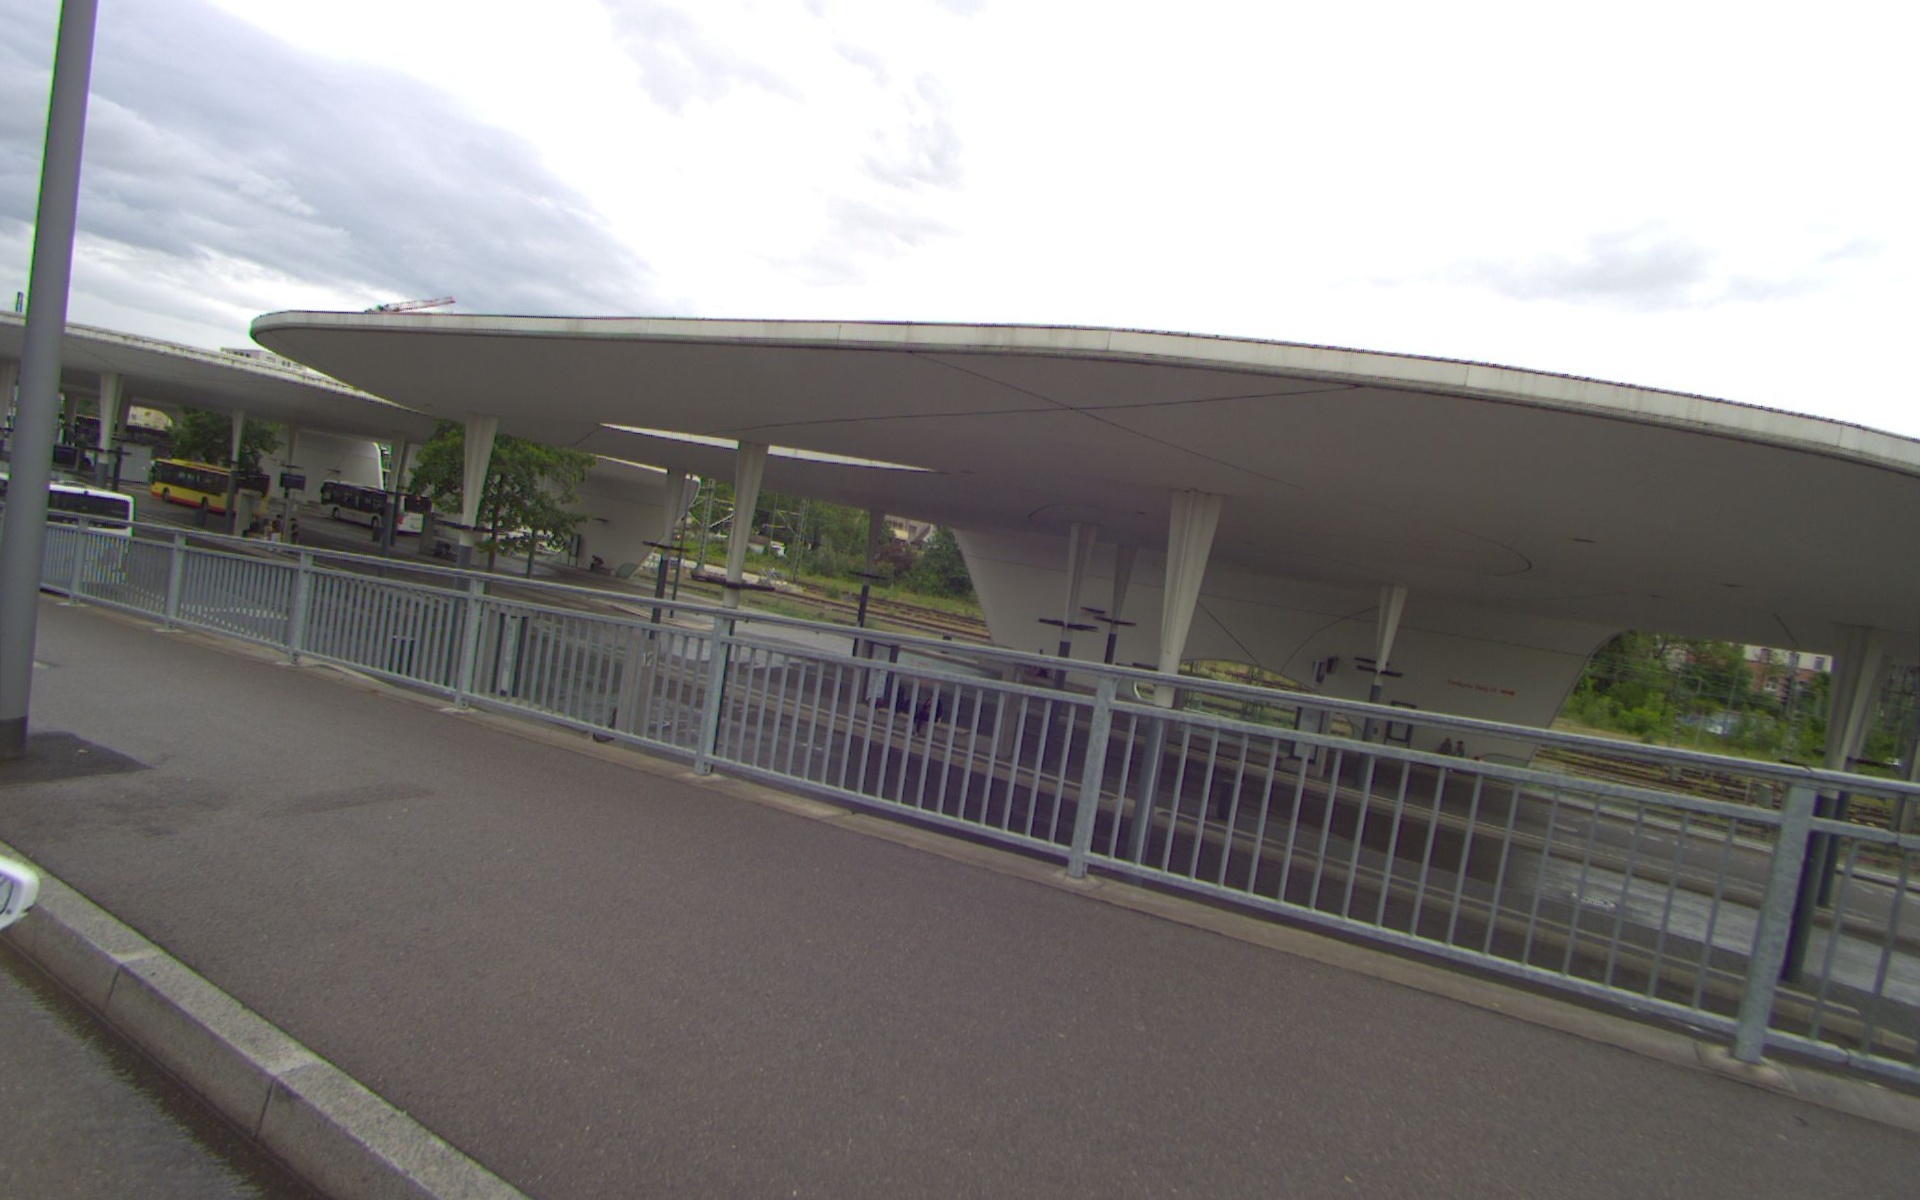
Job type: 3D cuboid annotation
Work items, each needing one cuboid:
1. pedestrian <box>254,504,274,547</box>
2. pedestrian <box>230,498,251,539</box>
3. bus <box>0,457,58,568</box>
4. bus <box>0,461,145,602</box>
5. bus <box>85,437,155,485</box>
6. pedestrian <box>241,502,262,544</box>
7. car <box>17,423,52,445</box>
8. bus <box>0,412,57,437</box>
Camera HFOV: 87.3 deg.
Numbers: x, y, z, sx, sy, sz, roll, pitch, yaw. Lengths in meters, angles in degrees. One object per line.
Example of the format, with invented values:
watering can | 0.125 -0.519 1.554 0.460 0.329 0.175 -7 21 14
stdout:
pedestrian | -34.215 -3.645 49.465 0.475 2.040 0.560 8 2 34
pedestrian | -37.238 -4.197 52.059 0.570 2.040 0.544 8 2 33
bus | -34.437 -3.387 34.688 6.948 3.279 2.649 12 4 29
bus | -28.560 -2.296 30.978 6.948 3.274 2.653 12 1 29
bus | -70.917 -11.730 84.886 6.880 3.252 2.600 9 3 34
pedestrian | -35.998 -3.929 51.101 0.570 2.040 0.544 8 2 33
car | -110.197 -19.785 119.738 3.933 2.040 1.995 9 3 32
bus | -120.038 -22.497 125.917 2.133 2.039 10.182 8 1 29
